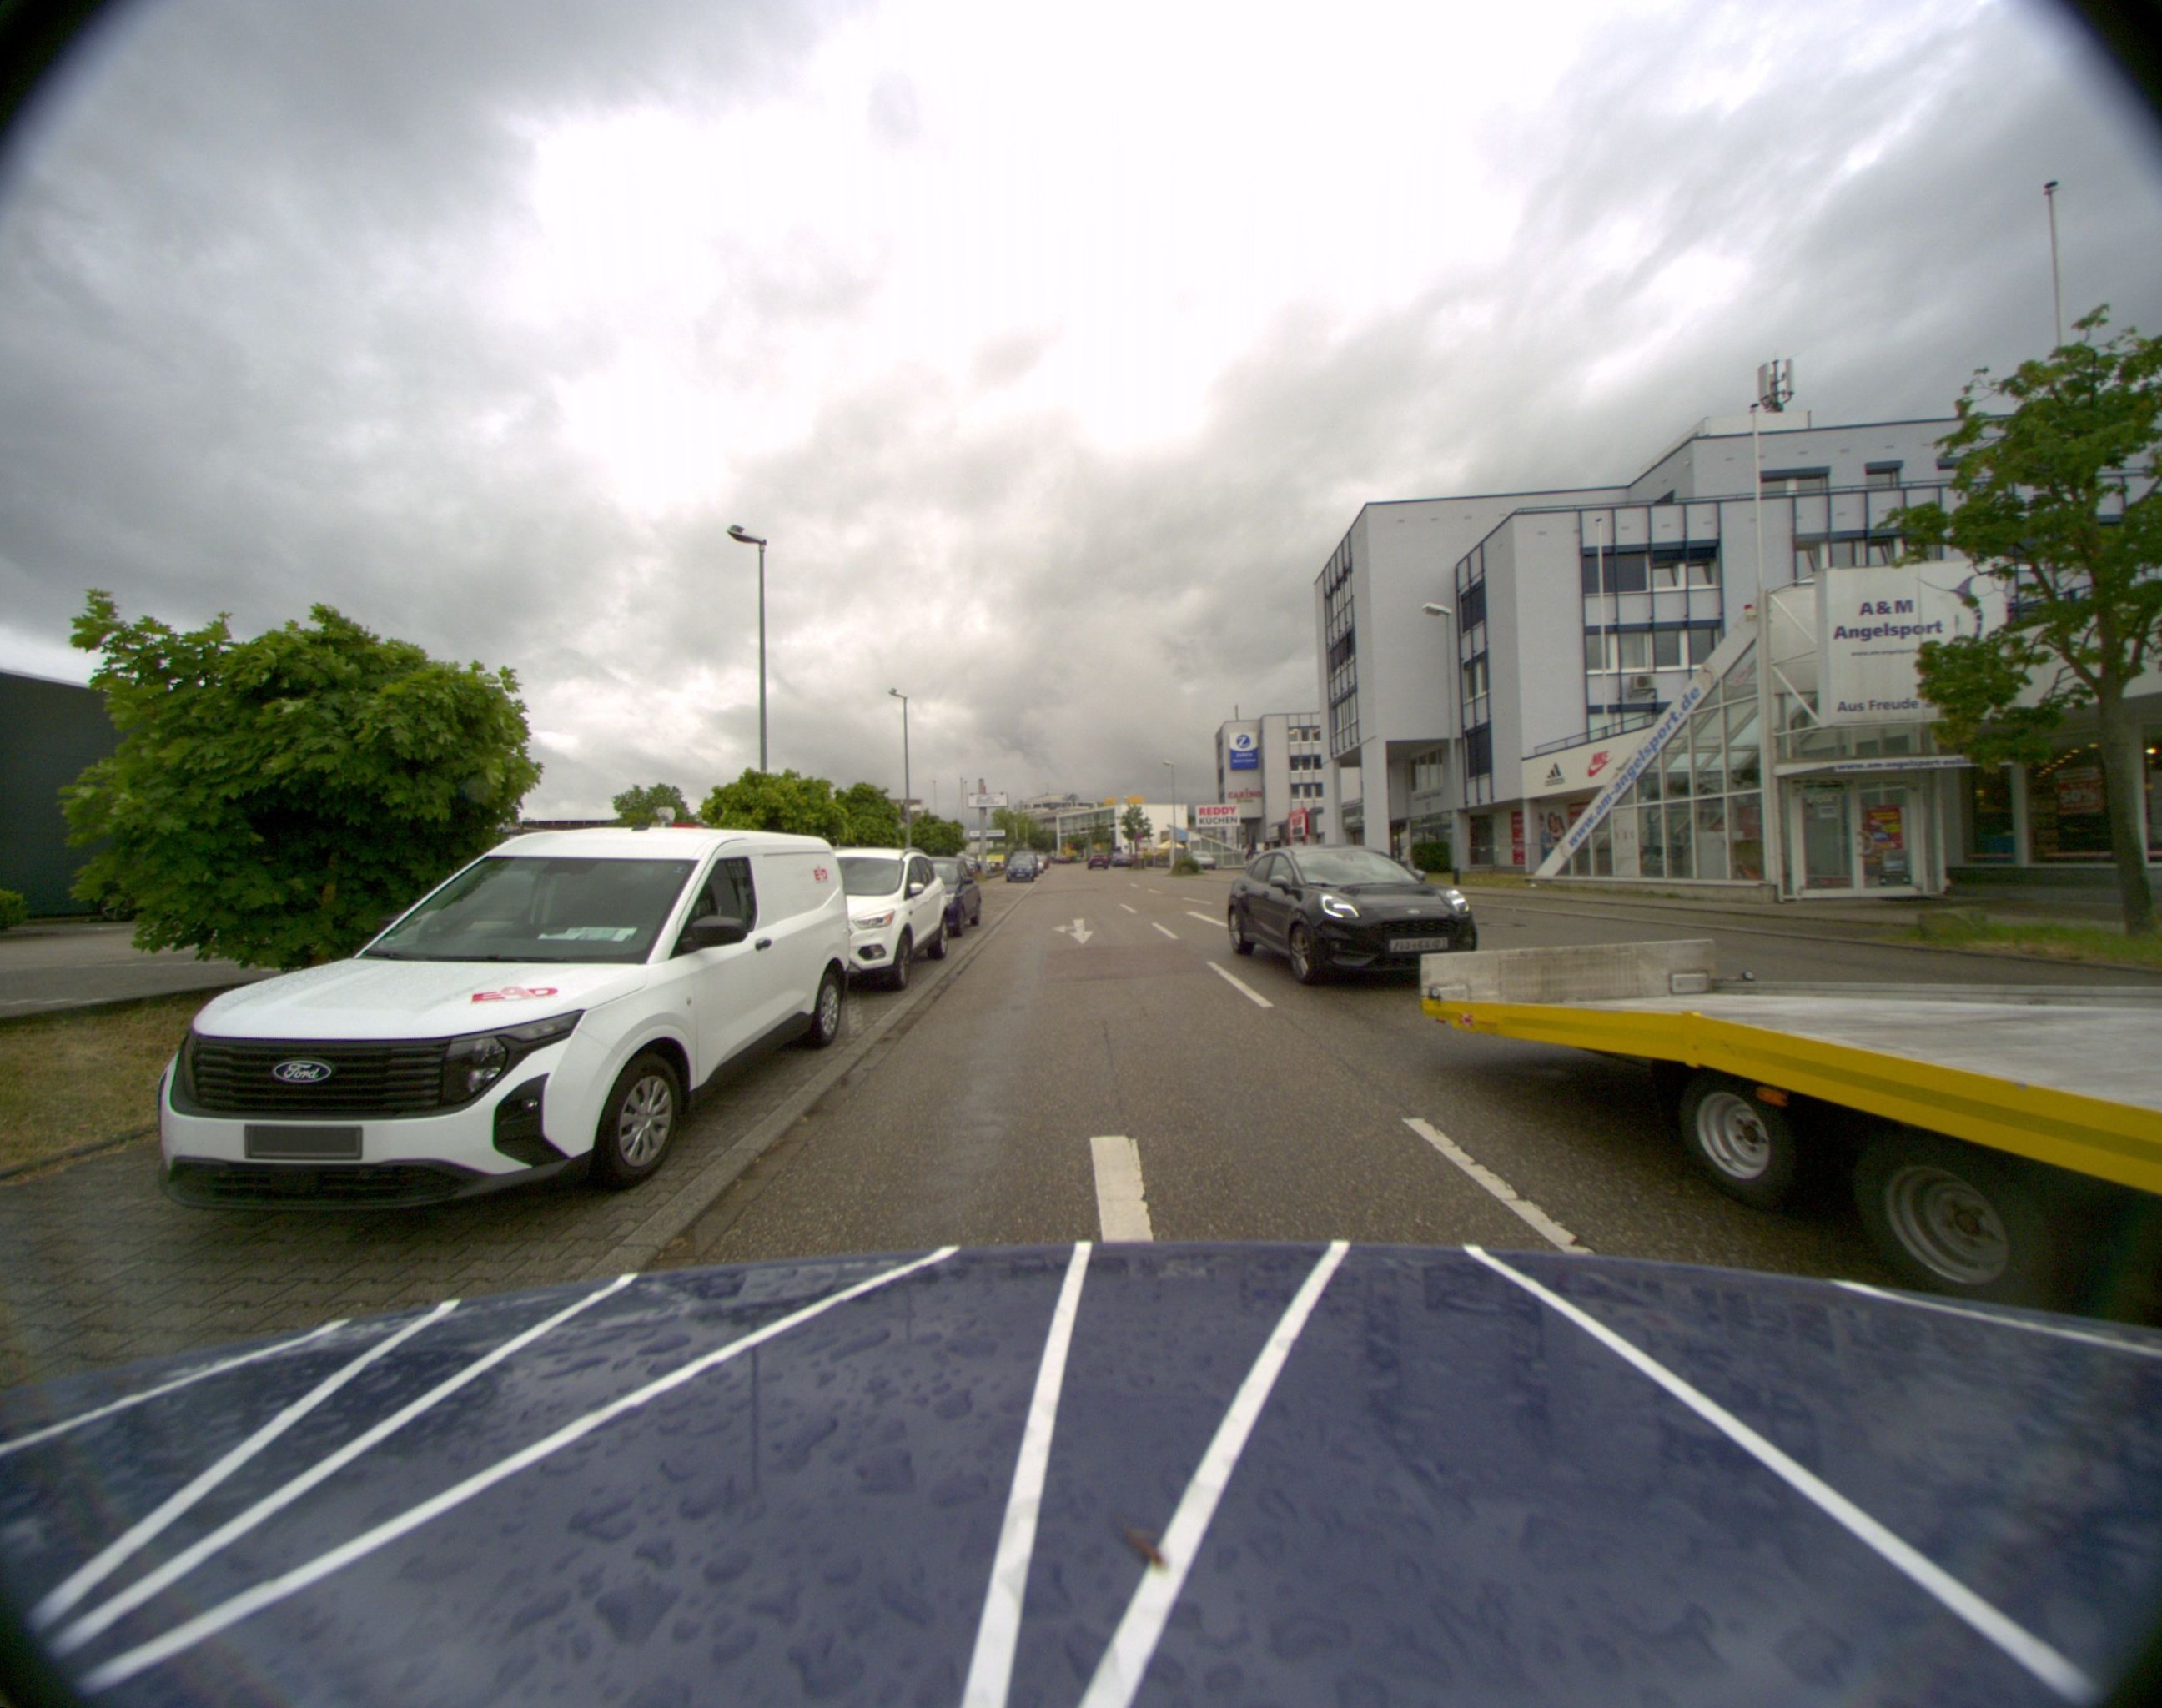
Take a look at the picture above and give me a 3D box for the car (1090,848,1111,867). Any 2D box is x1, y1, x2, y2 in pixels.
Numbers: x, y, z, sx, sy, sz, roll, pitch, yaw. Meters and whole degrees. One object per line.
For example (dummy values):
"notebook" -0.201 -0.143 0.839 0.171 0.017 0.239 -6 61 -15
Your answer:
"car" 1.840 0.298 73.085 1.901 1.755 3.999 -2 1 1

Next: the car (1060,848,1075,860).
"car" -2.091 -0.063 115.808 1.765 1.755 3.682 -2 1 -9

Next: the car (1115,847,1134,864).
"car" 4.571 0.163 80.262 1.801 1.663 3.668 -2 1 1

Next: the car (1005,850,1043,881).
"car" -3.344 0.634 45.238 1.822 1.698 4.000 -2 1 1

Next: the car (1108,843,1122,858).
"car" 4.196 -0.485 94.892 1.567 1.807 3.906 -2 1 1

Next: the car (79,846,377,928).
"car" -20.396 0.732 18.366 4.741 1.730 1.891 -2 1 -4

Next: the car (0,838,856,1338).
"car" -2.972 0.815 4.824 1.797 1.773 4.248 0 1 0

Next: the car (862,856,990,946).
"car" -3.144 0.900 16.273 1.822 1.589 4.000 -2 1 1

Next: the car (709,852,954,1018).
"car" -2.988 0.859 10.077 1.822 1.698 4.000 -2 1 1

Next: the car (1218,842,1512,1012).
"car" 3.093 0.687 9.272 1.814 1.531 3.998 -3 0 -4

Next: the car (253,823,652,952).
"car" -9.595 0.458 11.962 4.501 1.730 1.892 -2 1 -4

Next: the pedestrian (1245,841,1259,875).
"pedestrian" 8.633 0.181 38.424 0.550 1.698 0.519 -2 1 2

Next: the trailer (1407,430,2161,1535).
"trailer" 3.558 0.280 1.436 2.309 2.460 7.968 -1 1 -1

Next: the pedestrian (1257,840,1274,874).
"pedestrian" 9.541 0.159 39.337 0.644 1.733 0.589 -1 1 33

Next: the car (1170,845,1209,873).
"car" 6.629 0.314 46.675 1.822 1.601 4.001 -2 -1 1
